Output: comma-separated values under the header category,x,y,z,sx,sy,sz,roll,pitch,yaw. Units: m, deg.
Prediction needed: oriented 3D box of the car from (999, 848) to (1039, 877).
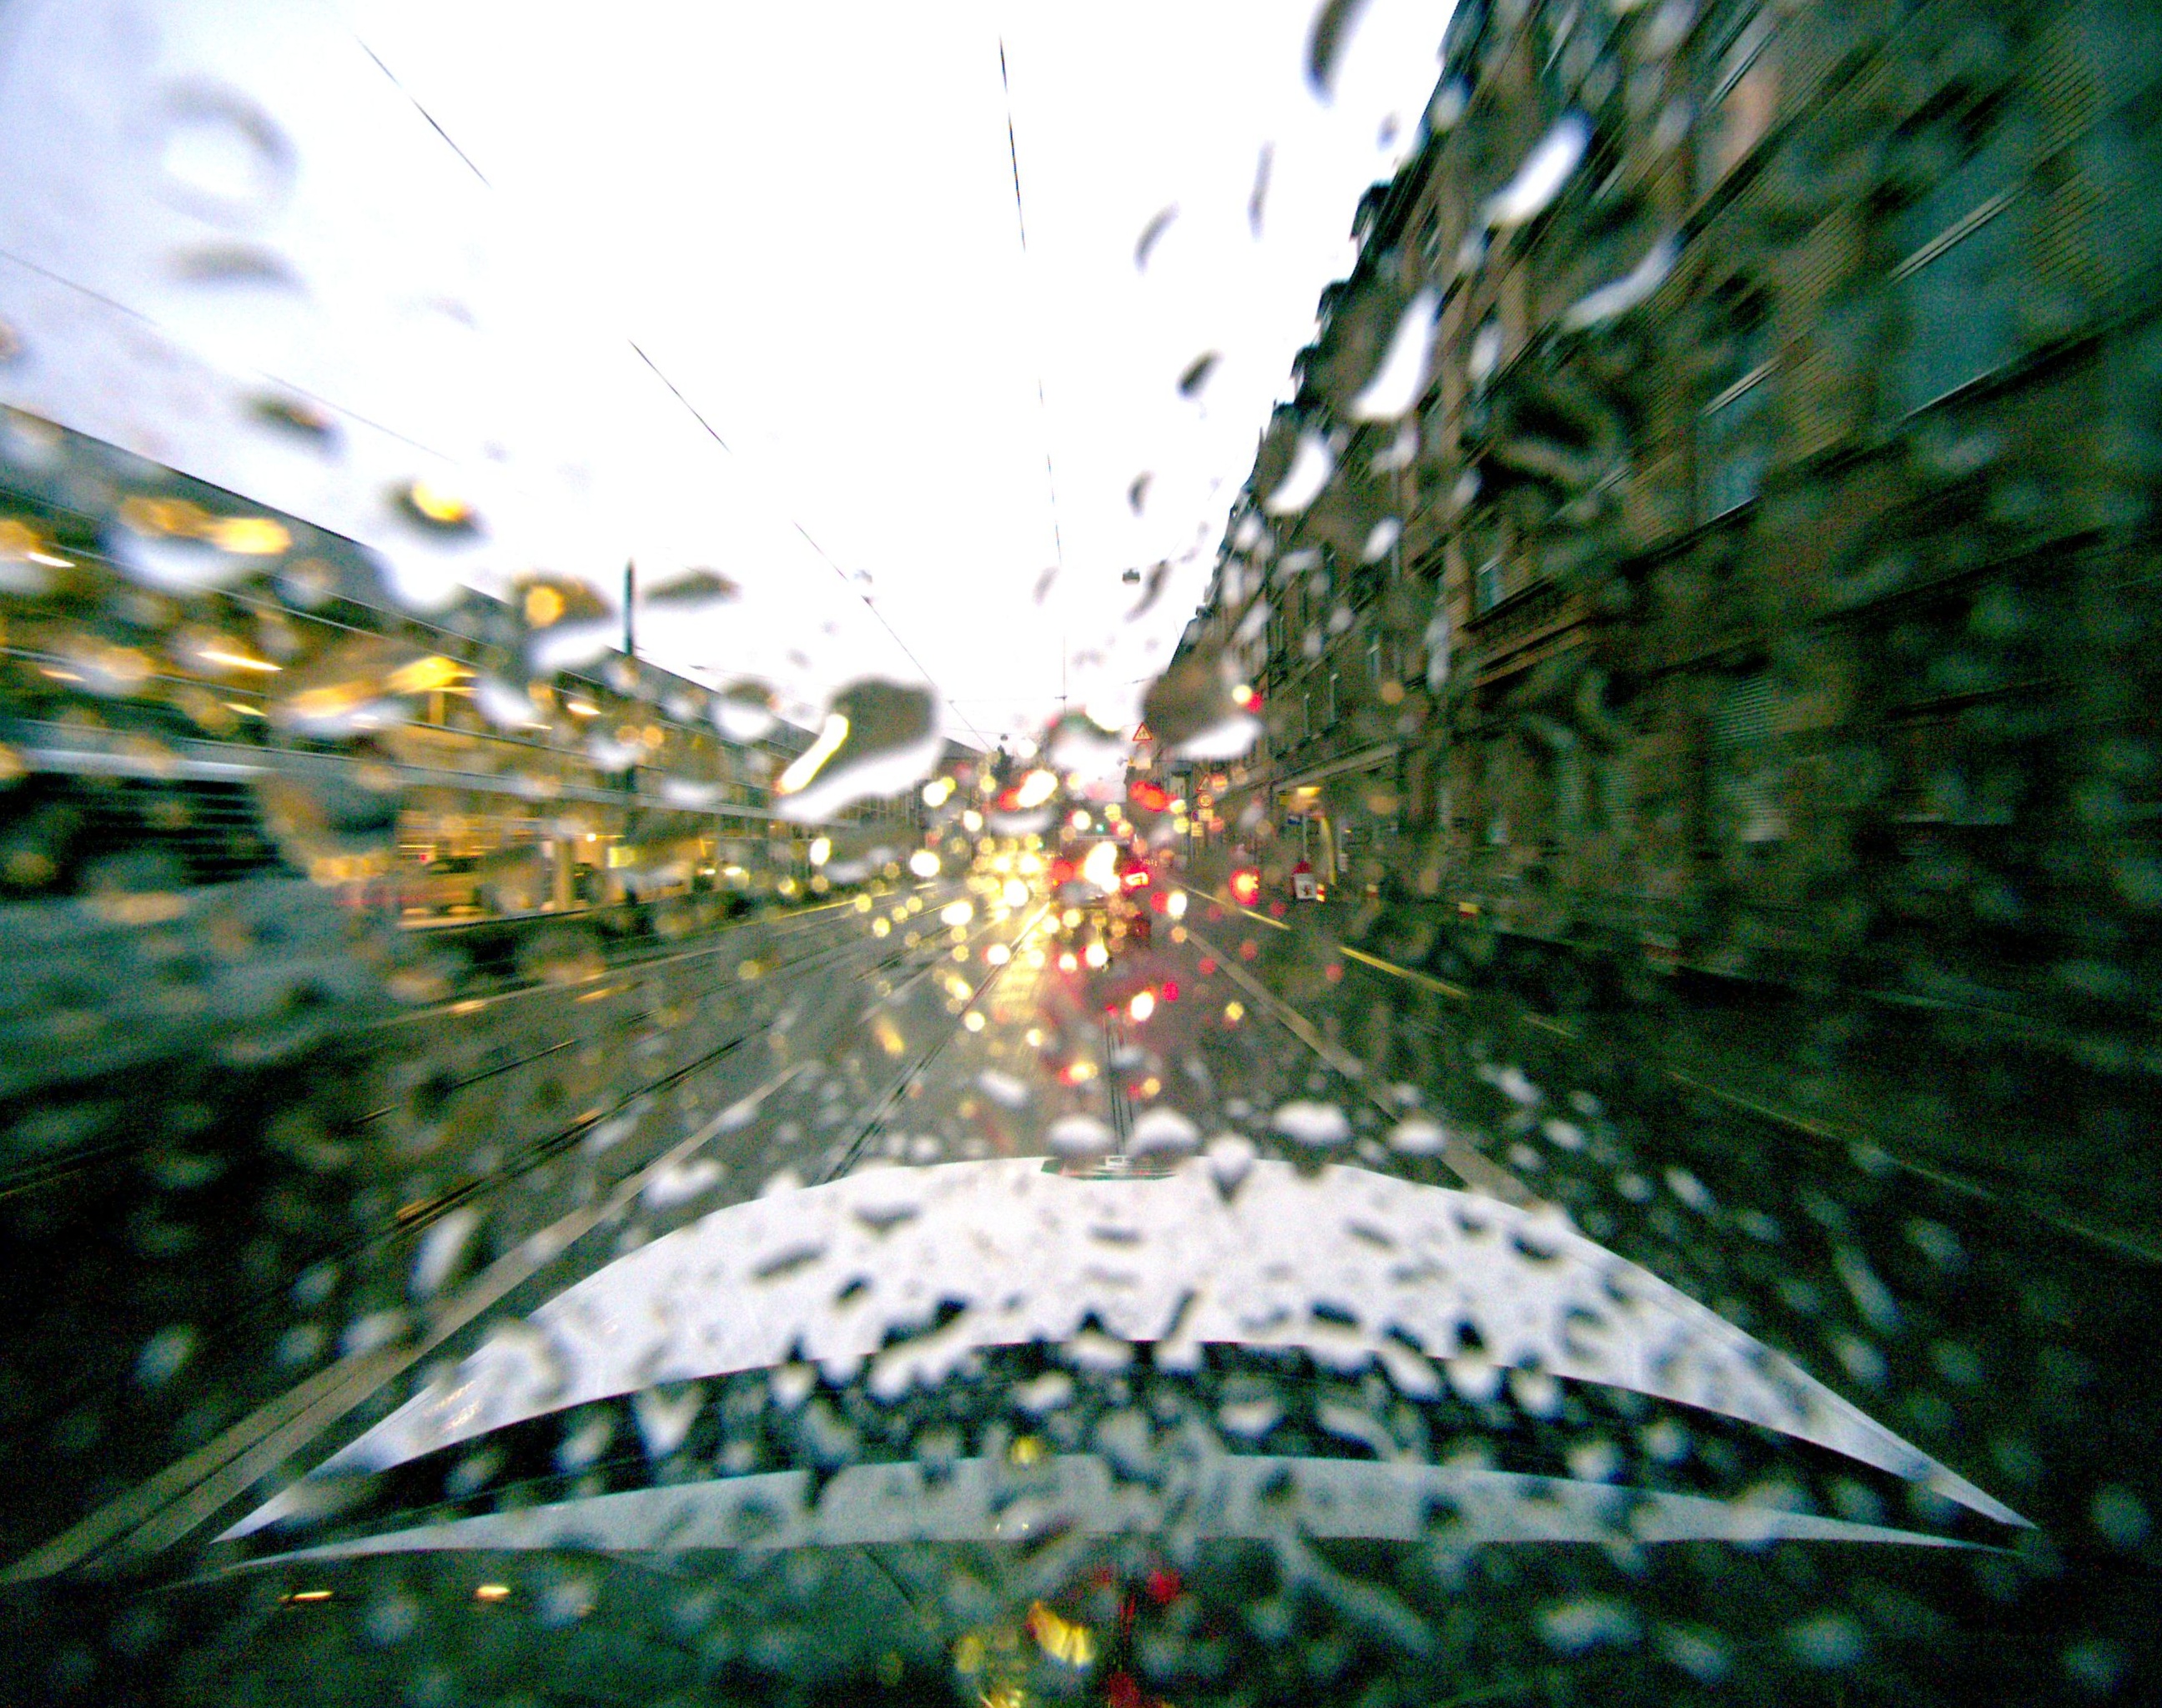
category,x,y,z,sx,sy,sz,roll,pitch,yaw
car,-3.621,0.491,48.336,1.834,1.578,4.445,-2,0,2

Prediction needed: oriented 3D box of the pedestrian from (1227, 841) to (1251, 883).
category,x,y,z,sx,sy,sz,roll,pitch,yaw
pedestrian,6.272,0.312,32.312,0.783,1.597,0.742,-1,0,1

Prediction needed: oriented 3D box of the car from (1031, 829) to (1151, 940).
category,x,y,z,sx,sy,sz,roll,pitch,yaw
car,0.293,0.516,15.728,1.985,1.842,4.004,-1,0,3

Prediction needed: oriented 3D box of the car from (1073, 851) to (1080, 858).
category,x,y,z,sx,sy,sz,roll,pitch,yaw
car,-0.988,0.079,185.878,1.524,1.481,3.562,-1,0,1

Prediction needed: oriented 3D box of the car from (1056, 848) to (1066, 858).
category,x,y,z,sx,sy,sz,roll,pitch,yaw
car,-3.899,-0.198,160.221,1.869,1.709,4.760,-2,0,0

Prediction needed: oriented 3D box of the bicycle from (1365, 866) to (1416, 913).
category,x,y,z,sx,sy,sz,roll,pitch,yaw
bicycle,6.676,0.736,17.648,0.396,0.911,1.867,-2,0,1

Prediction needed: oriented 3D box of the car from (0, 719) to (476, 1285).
category,x,y,z,sx,sy,sz,roll,pitch,yaw
car,-4.861,0.536,2.686,1.984,2.013,4.690,-1,0,4

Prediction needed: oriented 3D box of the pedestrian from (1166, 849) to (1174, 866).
category,x,y,z,sx,sy,sz,roll,pitch,yaw
pedestrian,7.093,0.288,64.864,0.598,1.376,0.728,-1,0,0
